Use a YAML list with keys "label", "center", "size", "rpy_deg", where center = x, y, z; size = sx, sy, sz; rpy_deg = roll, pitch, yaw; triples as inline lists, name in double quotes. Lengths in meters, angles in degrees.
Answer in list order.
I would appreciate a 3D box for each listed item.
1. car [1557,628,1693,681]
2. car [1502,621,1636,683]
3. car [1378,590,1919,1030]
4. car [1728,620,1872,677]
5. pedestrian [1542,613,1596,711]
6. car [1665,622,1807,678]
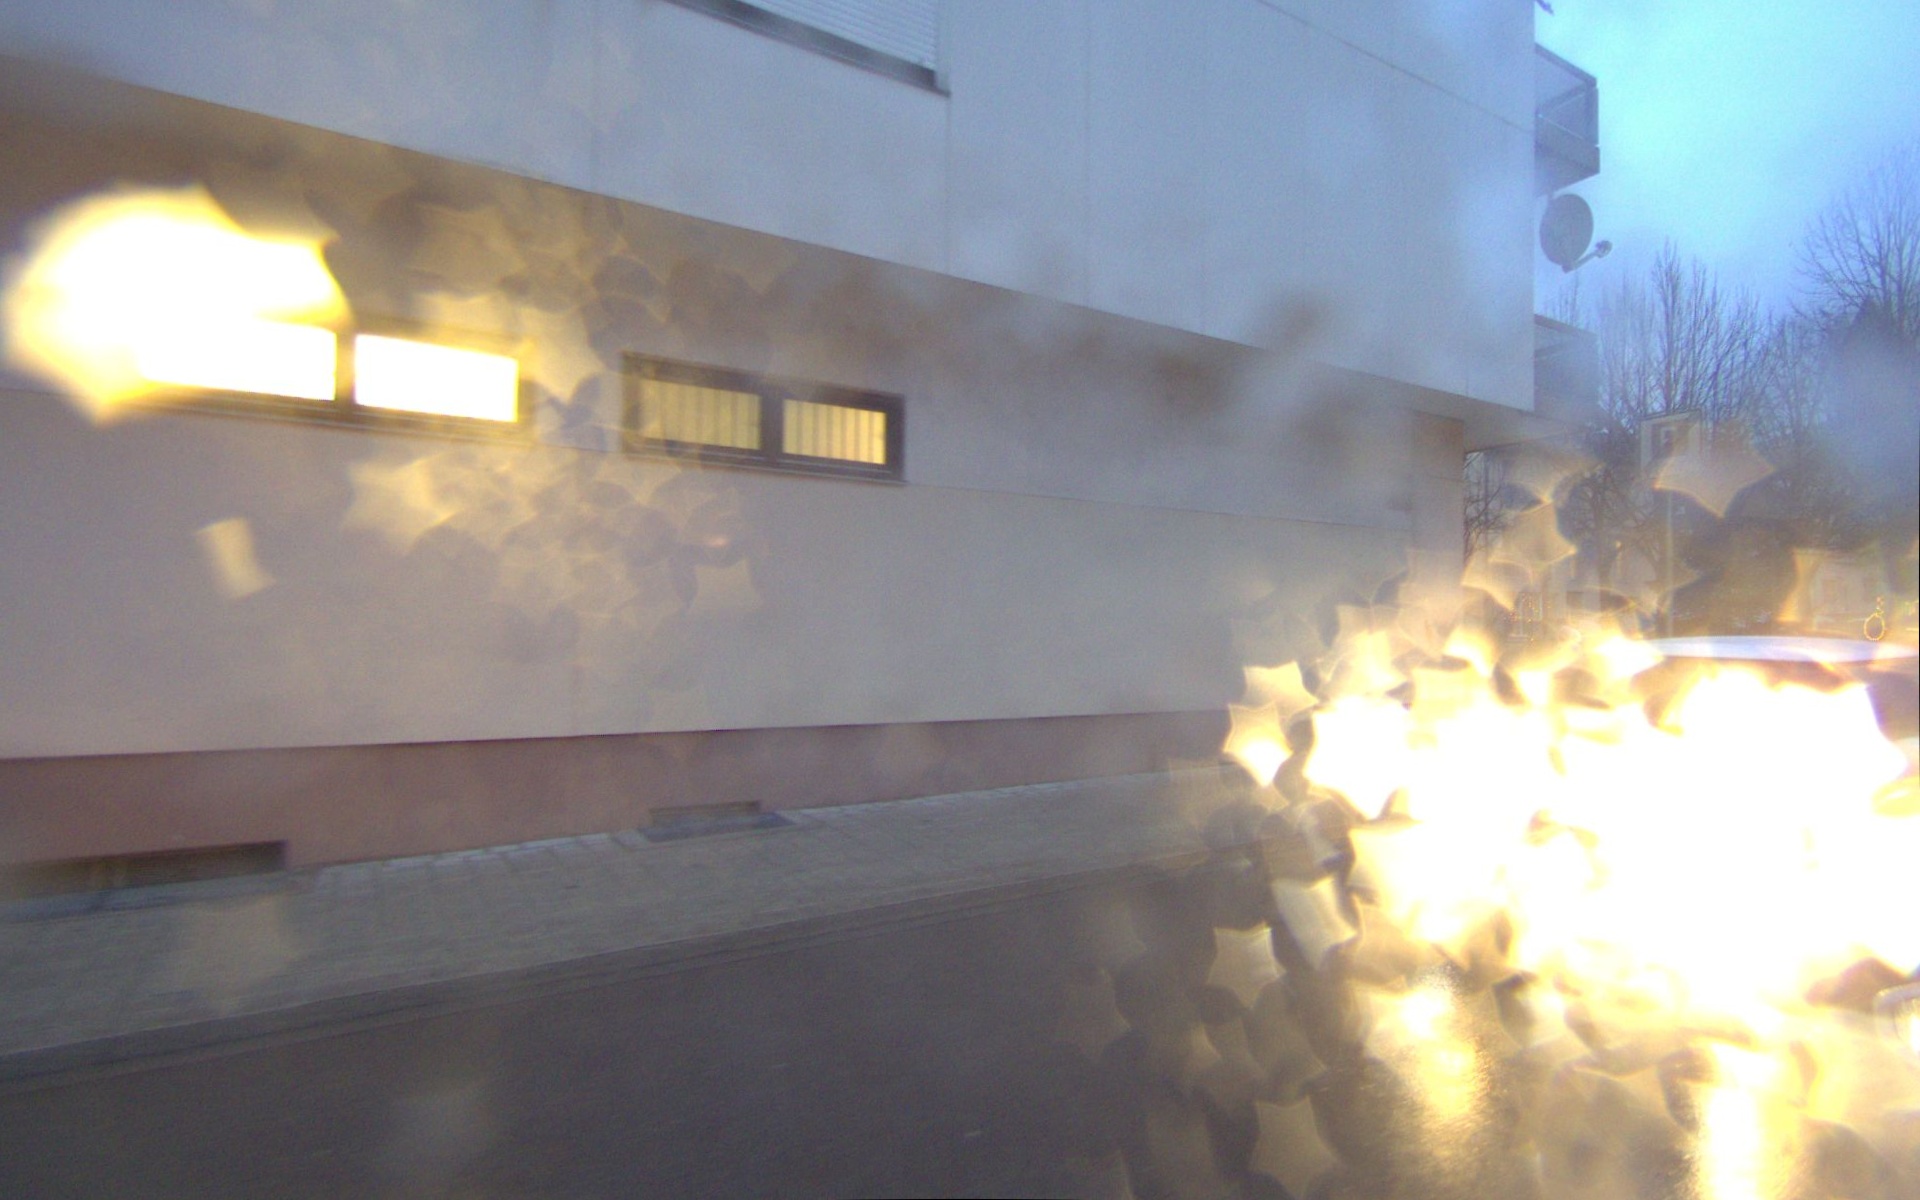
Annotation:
- label: "car"
  center: [23.603, 1.881, 35.830]
  size: [1.786, 1.753, 3.993]
  rpy_deg: [0, -1, -10]
- label: "car"
  center: [21.004, 1.740, 34.825]
  size: [1.786, 2.014, 3.993]
  rpy_deg: [0, -1, -10]
- label: "car"
  center: [3.907, 0.772, 5.160]
  size: [3.368, 1.556, 1.629]
  rpy_deg: [1, -1, -32]
- label: "car"
  center: [31.612, 1.765, 37.955]
  size: [1.786, 2.025, 3.993]
  rpy_deg: [0, -1, -10]
- label: "pedestrian"
  center: [9.488, 0.947, 15.674]
  size: [0.638, 1.478, 0.650]
  rpy_deg: [0, 0, 24]
- label: "car"
  center: [28.714, 1.803, 37.330]
  size: [1.786, 1.936, 3.993]
  rpy_deg: [0, -1, -10]
